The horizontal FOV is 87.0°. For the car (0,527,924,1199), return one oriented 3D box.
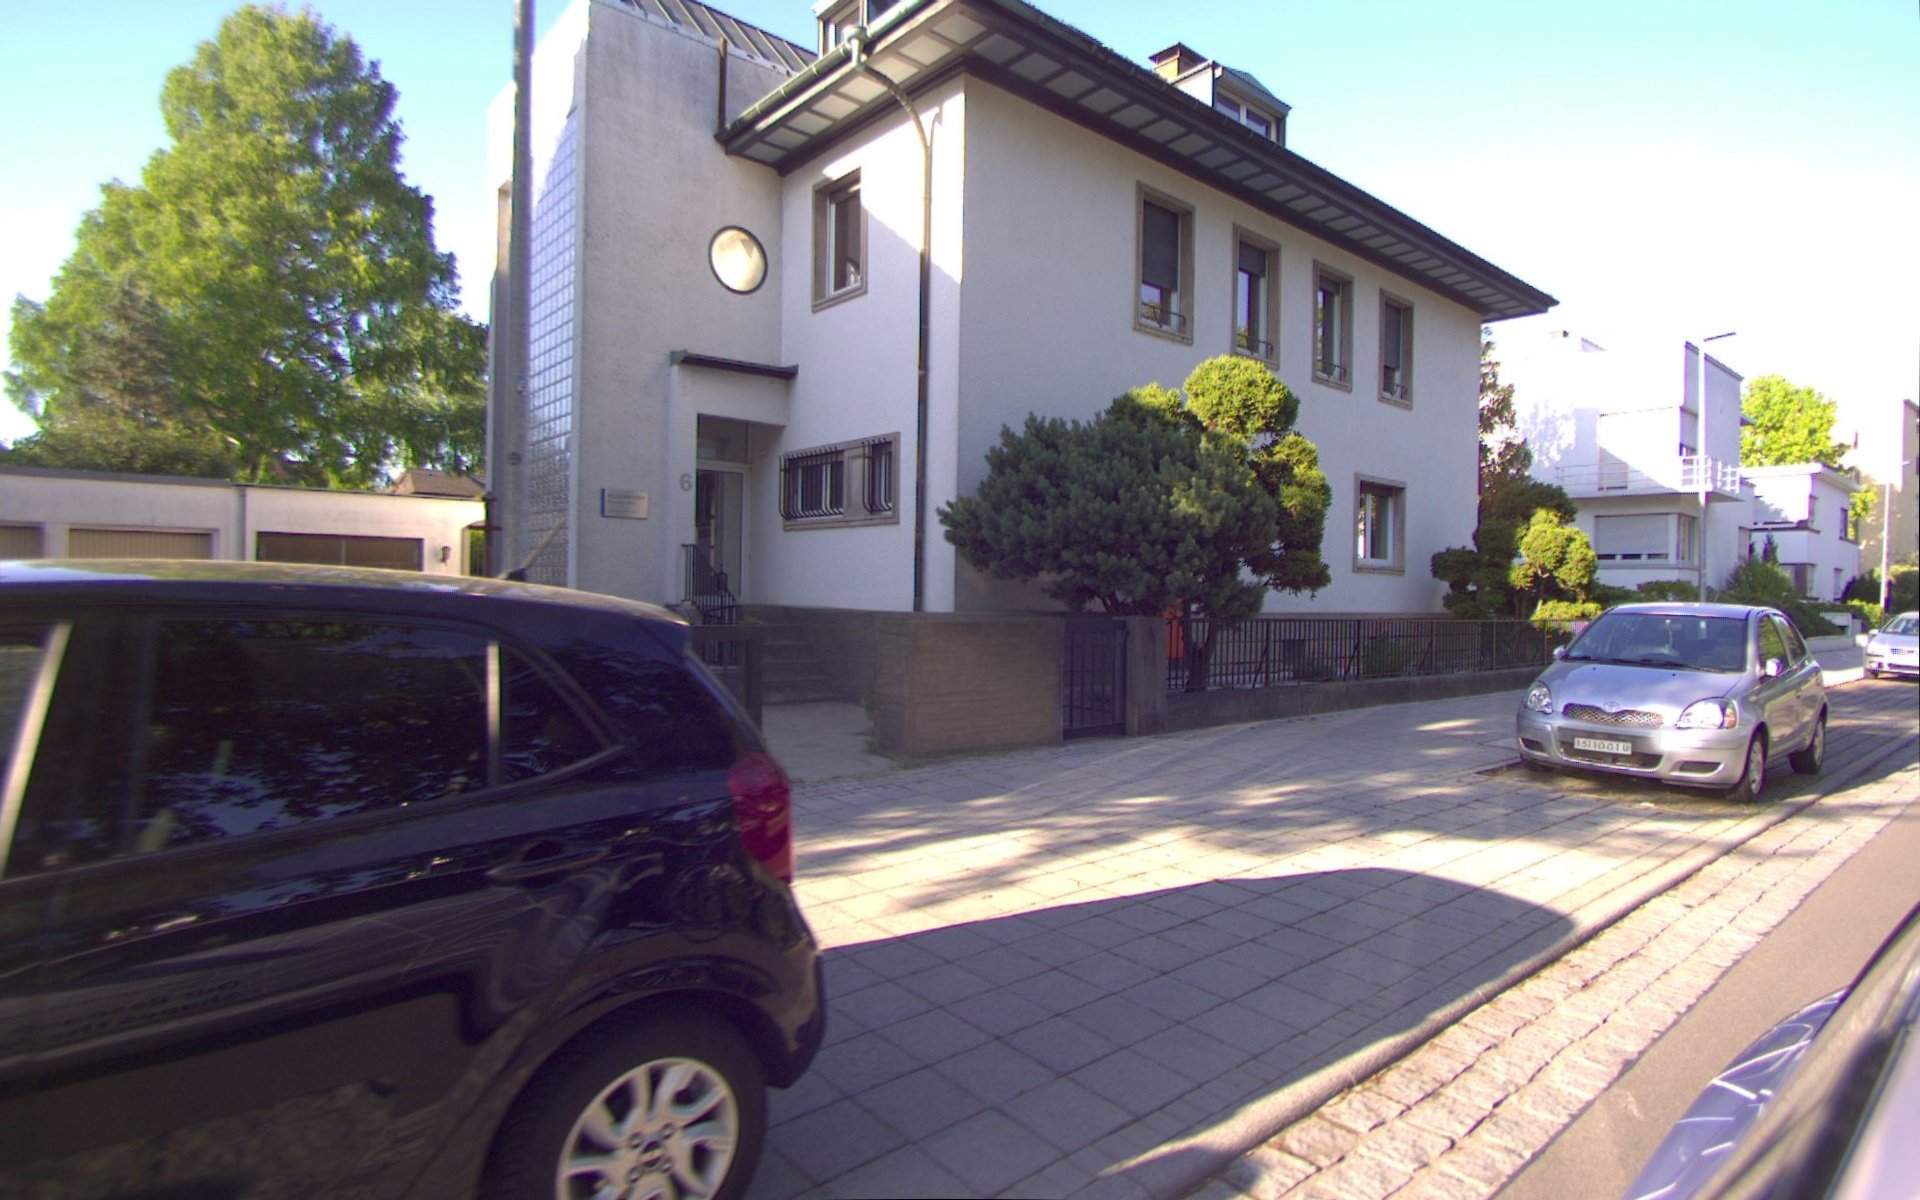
[{"bbox_3d":[-2.045,0.621,1.950,3.647,1.512,1.663,0,2,-37],"label":"car"}]

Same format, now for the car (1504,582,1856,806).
[{"bbox_3d":[6.411,0.669,8.887,3.568,1.523,1.631,1,2,-40],"label":"car"}]

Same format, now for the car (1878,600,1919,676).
[{"bbox_3d":[21.056,0.816,21.442,3.851,1.492,1.749,0,3,-39],"label":"car"}]
